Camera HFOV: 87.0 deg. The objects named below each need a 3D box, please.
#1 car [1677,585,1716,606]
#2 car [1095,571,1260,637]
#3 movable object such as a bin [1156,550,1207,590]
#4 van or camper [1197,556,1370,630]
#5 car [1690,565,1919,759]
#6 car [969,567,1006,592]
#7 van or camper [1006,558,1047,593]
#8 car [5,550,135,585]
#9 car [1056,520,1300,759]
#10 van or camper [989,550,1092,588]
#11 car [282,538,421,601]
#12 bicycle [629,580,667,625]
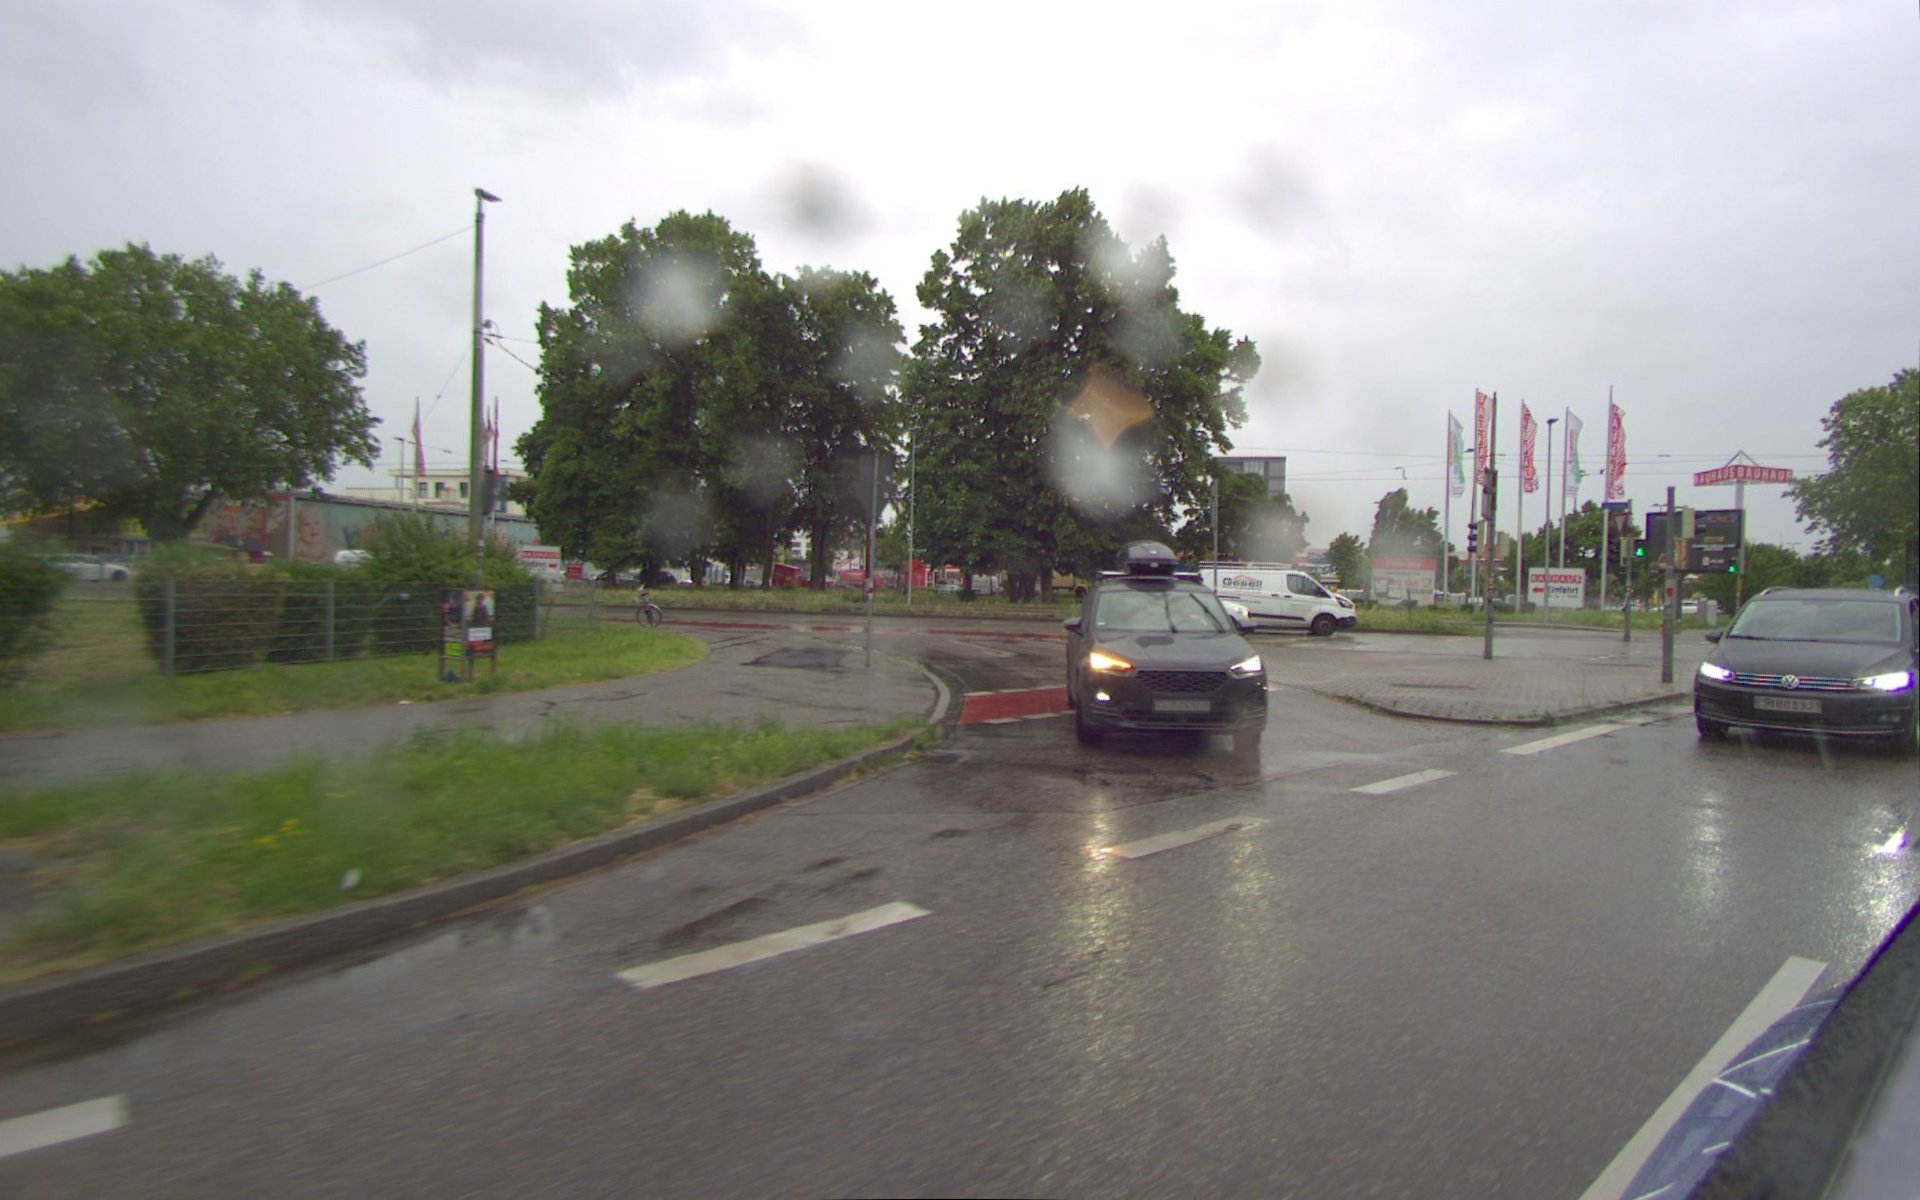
[{"bbox_3d":[59.563,-0.377,81.865,3.933,1.639,1.819,-1,2,-43],"label":"car"},{"bbox_3d":[6.112,0.075,28.738,4.391,1.693,1.862,2,2,11],"label":"car"},{"bbox_3d":[18.973,-2.551,86.866,4.187,3.325,2.319,0,1,12],"label":"movable object such as a bin"},{"bbox_3d":[9.870,-0.253,31.229,4.831,2.114,1.862,2,1,11],"label":"van or camper"},{"bbox_3d":[9.655,0.546,11.095,4.118,1.748,1.859,0,0,-42],"label":"car"},{"bbox_3d":[2.023,-1.475,72.687,1.839,1.749,3.951,2,2,14],"label":"car"},{"bbox_3d":[4.735,-1.717,71.385,2.102,2.328,4.448,2,2,14],"label":"van or camper"},{"bbox_3d":[-44.325,-1.608,50.559,1.823,1.617,4.595,2,2,21],"label":"car"},{"bbox_3d":[2.154,0.275,11.373,1.897,2.081,4.753,1,2,3],"label":"car"},{"bbox_3d":[7.203,-2.718,90.653,8.847,3.197,2.975,0,1,14],"label":"van or camper"},{"bbox_3d":[-21.410,-1.049,35.638,4.174,2.117,1.988,0,1,19],"label":"car"},{"bbox_3d":[-7.850,0.057,25.419,0.795,1.051,1.629,1,2,-20],"label":"bicycle"}]
